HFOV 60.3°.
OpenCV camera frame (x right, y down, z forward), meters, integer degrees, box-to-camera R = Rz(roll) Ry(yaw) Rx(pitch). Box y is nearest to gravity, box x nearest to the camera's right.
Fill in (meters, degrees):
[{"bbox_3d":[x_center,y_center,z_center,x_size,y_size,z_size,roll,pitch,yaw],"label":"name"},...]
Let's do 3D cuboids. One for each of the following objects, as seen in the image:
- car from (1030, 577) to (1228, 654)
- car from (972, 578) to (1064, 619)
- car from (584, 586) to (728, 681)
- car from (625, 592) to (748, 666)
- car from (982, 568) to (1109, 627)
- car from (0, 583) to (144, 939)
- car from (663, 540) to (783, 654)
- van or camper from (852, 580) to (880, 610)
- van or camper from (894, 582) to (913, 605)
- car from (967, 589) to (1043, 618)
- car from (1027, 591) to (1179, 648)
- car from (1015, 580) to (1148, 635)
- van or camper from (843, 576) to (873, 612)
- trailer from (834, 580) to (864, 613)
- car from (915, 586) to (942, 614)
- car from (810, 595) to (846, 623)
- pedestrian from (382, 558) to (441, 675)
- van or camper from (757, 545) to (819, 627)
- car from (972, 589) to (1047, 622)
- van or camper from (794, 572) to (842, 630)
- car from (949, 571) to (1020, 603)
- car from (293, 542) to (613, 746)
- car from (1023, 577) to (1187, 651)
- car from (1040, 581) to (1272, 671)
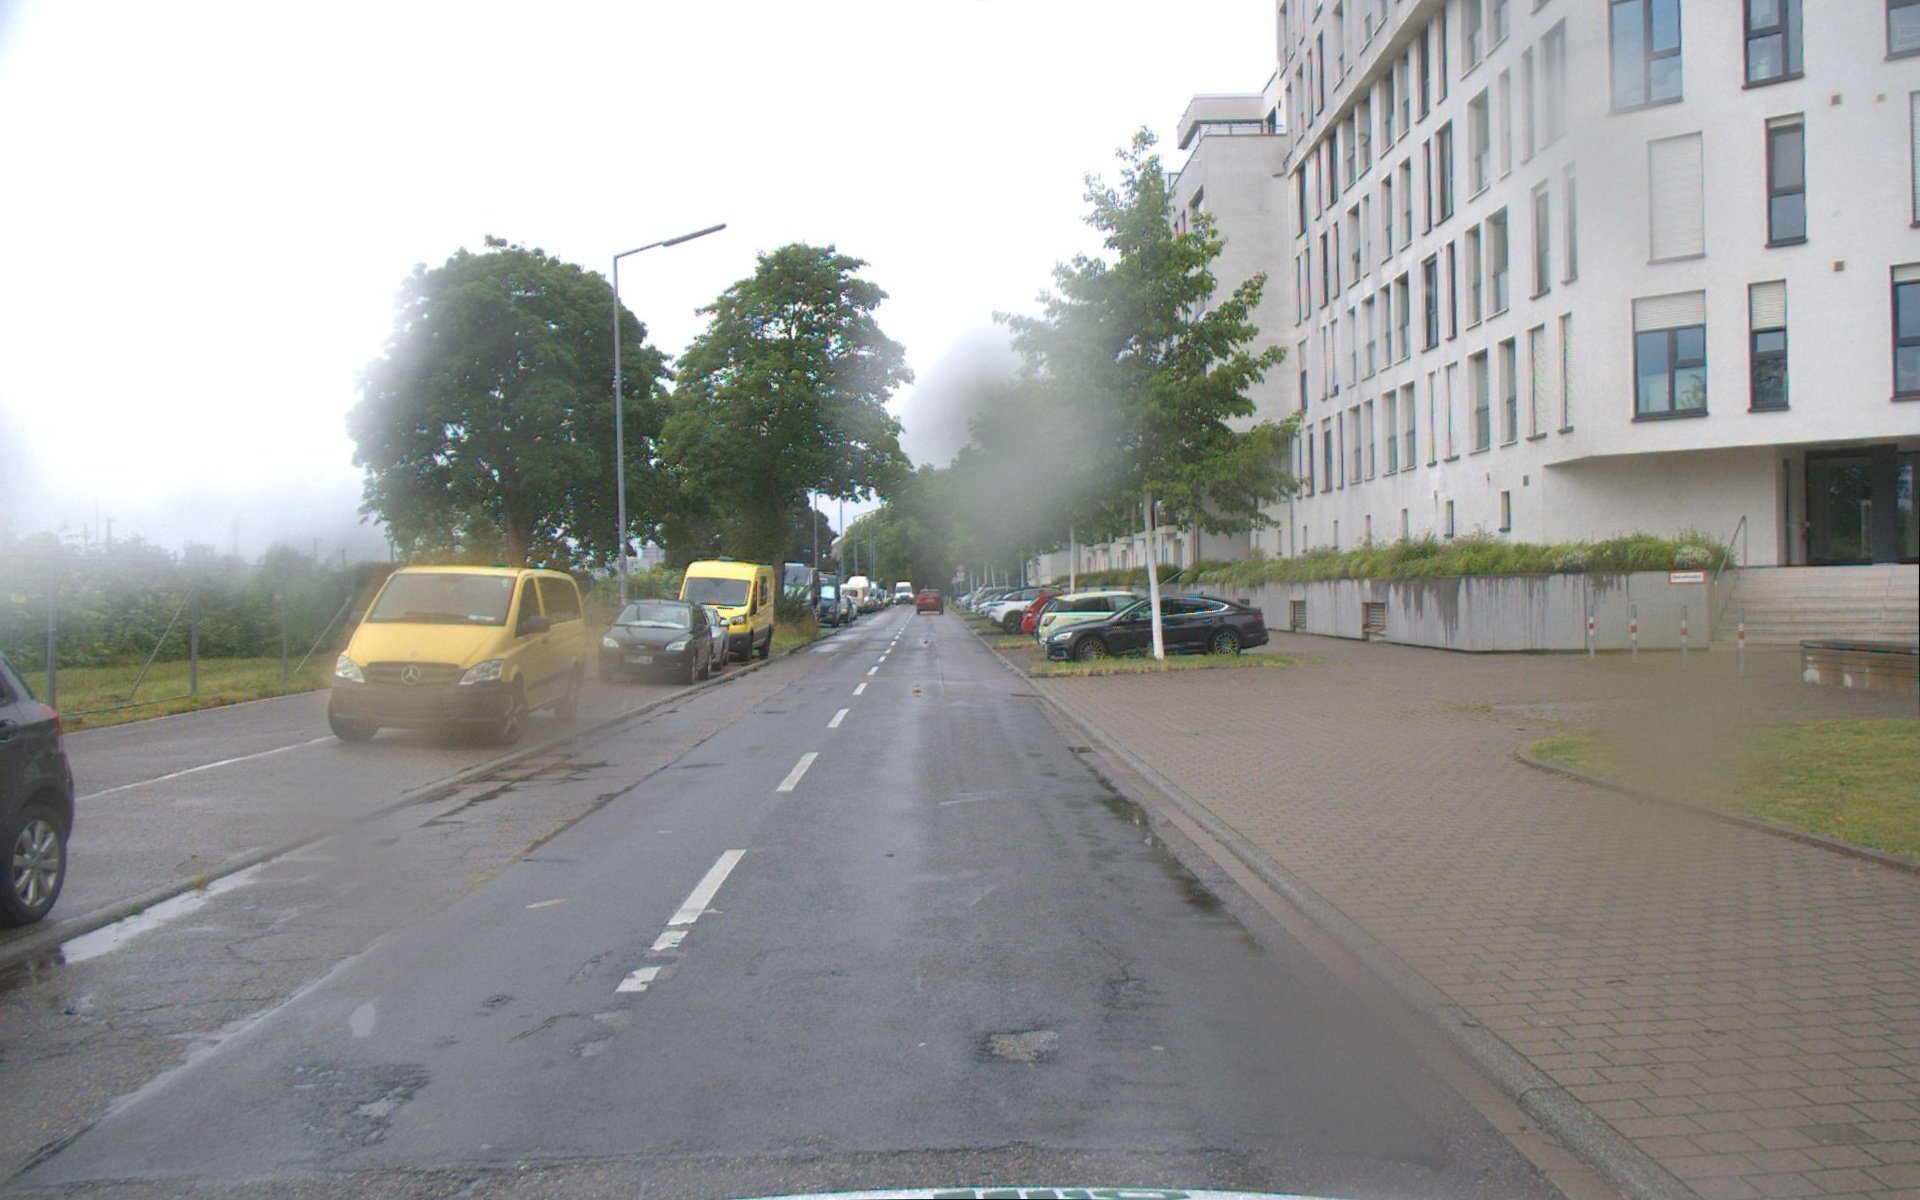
[{"bbox_3d":[3.942,0.352,39.077,4.397,1.507,1.691,-4,0,-2],"label":"car"},{"bbox_3d":[2.904,-0.089,83.652,4.388,1.716,1.935,-4,1,-3],"label":"car"},{"bbox_3d":[-5.717,0.608,31.710,1.953,1.622,5.015,2,0,-2],"label":"car"},{"bbox_3d":[-6.020,0.615,37.038,1.970,1.459,5.337,2,0,-2],"label":"car"},{"bbox_3d":[3.182,-0.079,61.944,4.452,1.714,1.884,-6,0,-4],"label":"car"},{"bbox_3d":[-5.200,0.721,6.722,1.767,1.588,4.032,2,0,-1],"label":"car"},{"bbox_3d":[-6.122,-0.079,43.497,2.147,2.741,6.081,1,0,0],"label":"car"},{"bbox_3d":[-8.185,-0.433,144.504,2.145,2.505,6.376,0,0,-1],"label":"van or camper"},{"bbox_3d":[-6.524,-0.765,193.101,1.953,2.541,7.177,-2,0,0],"label":"van or camper"},{"bbox_3d":[2.599,0.198,96.177,4.214,1.453,1.636,-3,0,-4],"label":"car"},{"bbox_3d":[3.802,0.510,44.315,3.878,1.500,1.591,0,0,-4],"label":"car"},{"bbox_3d":[3.775,0.250,51.775,3.907,1.477,1.820,-3,-1,-2],"label":"car"},{"bbox_3d":[-8.097,-0.453,132.031,1.953,2.810,7.896,0,0,-1],"label":"van or camper"},{"bbox_3d":[-7.876,-0.245,118.003,2.017,2.256,5.791,0,0,-3],"label":"trailer"},{"bbox_3d":[-2.125,0.013,111.485,1.721,1.736,3.998,-1,-1,-2],"label":"car"},{"bbox_3d":[-7.608,0.521,95.790,1.738,1.529,4.827,1,0,-1],"label":"car"},{"bbox_3d":[-9.760,0.282,29.459,0.727,2.049,0.980,0,0,-1],"label":"pedestrian"},{"bbox_3d":[-6.999,-0.523,67.904,2.052,3.148,6.421,2,0,-2],"label":"van or camper"},{"bbox_3d":[2.625,0.272,88.450,3.907,1.536,1.684,-3,1,-2],"label":"car"},{"bbox_3d":[-7.122,0.084,83.472,2.053,2.763,7.570,2,0,-3],"label":"van or camper"},{"bbox_3d":[1.612,-0.865,110.574,4.528,2.054,1.856,-1,1,-6],"label":"car"},{"bbox_3d":[-5.652,0.443,19.412,1.976,1.990,6.063,1,0,-1],"label":"car"},{"bbox_3d":[3.610,0.342,41.672,3.907,1.582,1.634,-4,0,-1],"label":"car"},{"bbox_3d":[4.007,0.521,34.284,4.479,1.523,1.825,-4,0,-2],"label":"car"}]
